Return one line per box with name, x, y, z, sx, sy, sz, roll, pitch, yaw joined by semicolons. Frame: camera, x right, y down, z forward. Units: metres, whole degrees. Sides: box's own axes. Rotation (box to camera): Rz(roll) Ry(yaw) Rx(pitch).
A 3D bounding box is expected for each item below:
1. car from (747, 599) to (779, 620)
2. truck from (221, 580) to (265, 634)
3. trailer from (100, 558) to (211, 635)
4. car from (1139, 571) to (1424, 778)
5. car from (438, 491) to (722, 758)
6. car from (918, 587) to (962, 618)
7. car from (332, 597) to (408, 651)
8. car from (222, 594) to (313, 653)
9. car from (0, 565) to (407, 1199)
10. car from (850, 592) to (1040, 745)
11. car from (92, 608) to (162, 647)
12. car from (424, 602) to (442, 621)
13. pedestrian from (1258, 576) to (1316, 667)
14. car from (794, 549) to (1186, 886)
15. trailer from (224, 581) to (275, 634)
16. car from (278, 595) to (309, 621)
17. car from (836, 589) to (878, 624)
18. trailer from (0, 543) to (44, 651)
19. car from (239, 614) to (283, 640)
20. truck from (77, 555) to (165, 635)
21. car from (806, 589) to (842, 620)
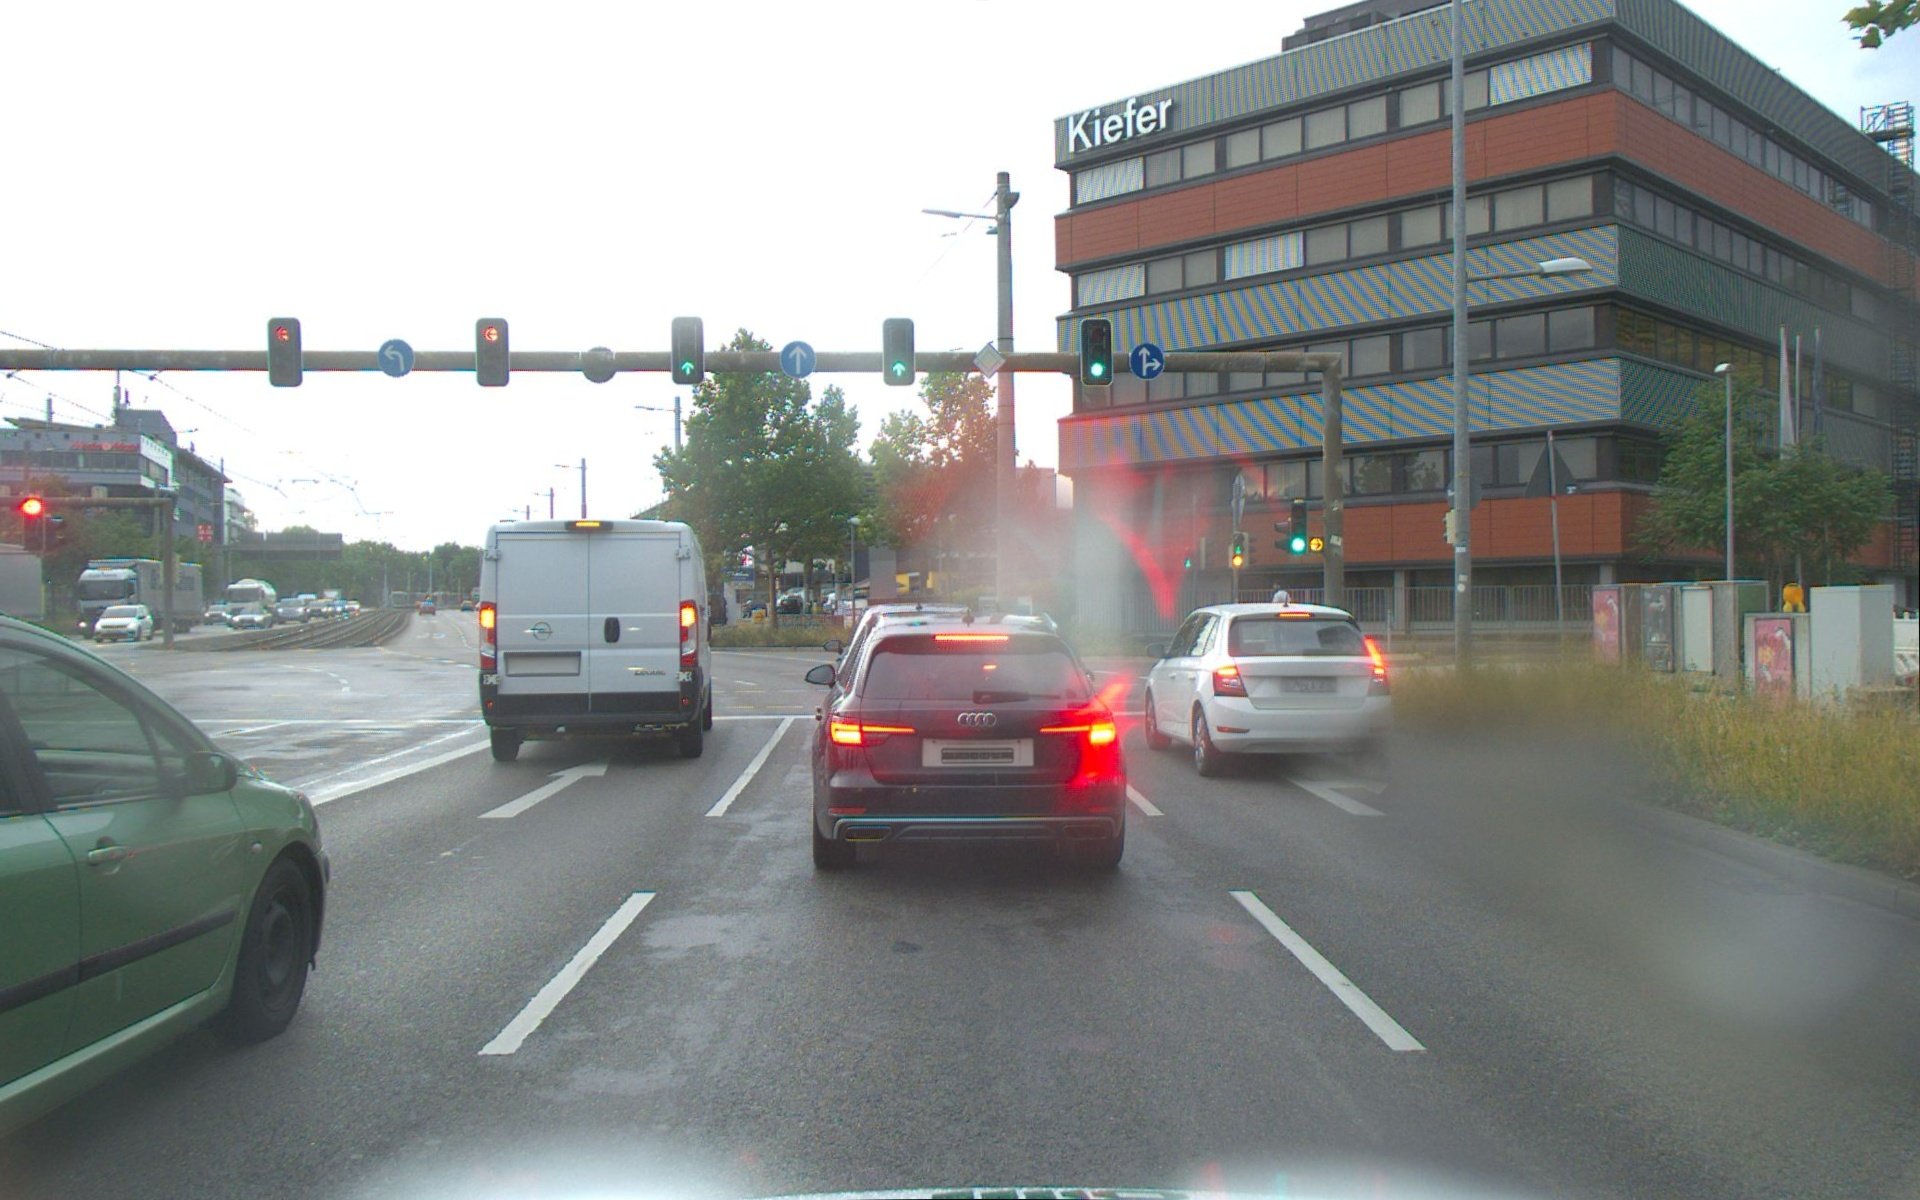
car;-16.067;0.780;134.670;1.764;1.619;3.978;-1;0;-19
truck;-53.818;0.548;124.304;2.707;3.872;5.376;-2;-1;-21
trailer;-46.828;-0.104;96.705;2.602;4.197;12.709;-1;-1;-11
car;2.852;0.656;15.545;1.792;1.685;3.998;0;-1;-2
car;-3.759;0.278;17.360;2.399;2.334;4.895;2;-1;-8
car;-1.410;0.208;115.739;1.844;2.049;3.749;2;-1;-22
car;-23.603;0.940;66.330;1.738;2.049;4.343;2;0;-4
car;-25.492;0.850;61.061;1.738;2.049;4.343;2;0;-4
car;-2.995;0.654;4.234;1.660;1.494;4.402;2;-1;0
car;-0.133;0.705;18.171;1.855;1.491;3.909;0;-1;0
car;-38.229;1.281;76.011;1.854;1.681;4.082;2;-1;-12
car;-59.883;1.347;187.878;1.744;2.049;4.328;2;-1;-16
pedestrian;7.973;0.506;40.356;1.120;2.162;1.222;-1;1;-2
car;0.117;0.630;10.342;1.953;1.666;3.999;-1;-1;-1
trailer;-55.805;0.671;130.070;2.684;3.922;11.166;-1;-1;-19
car;-51.534;0.580;127.924;1.964;1.869;4.880;1;1;-20
car;-6.453;0.405;103.428;1.959;2.068;3.987;-1;0;-13
trailer;-38.311;-0.106;63.417;2.748;4.179;11.398;-1;0;-14
car;-46.080;1.767;109.103;1.870;1.582;4.550;2;-1;-13
truck;-45.518;-0.221;89.911;2.619;4.202;6.168;-1;-1;-11
car;-9.237;0.310;112.229;1.652;2.049;3.525;2;-1;-17
